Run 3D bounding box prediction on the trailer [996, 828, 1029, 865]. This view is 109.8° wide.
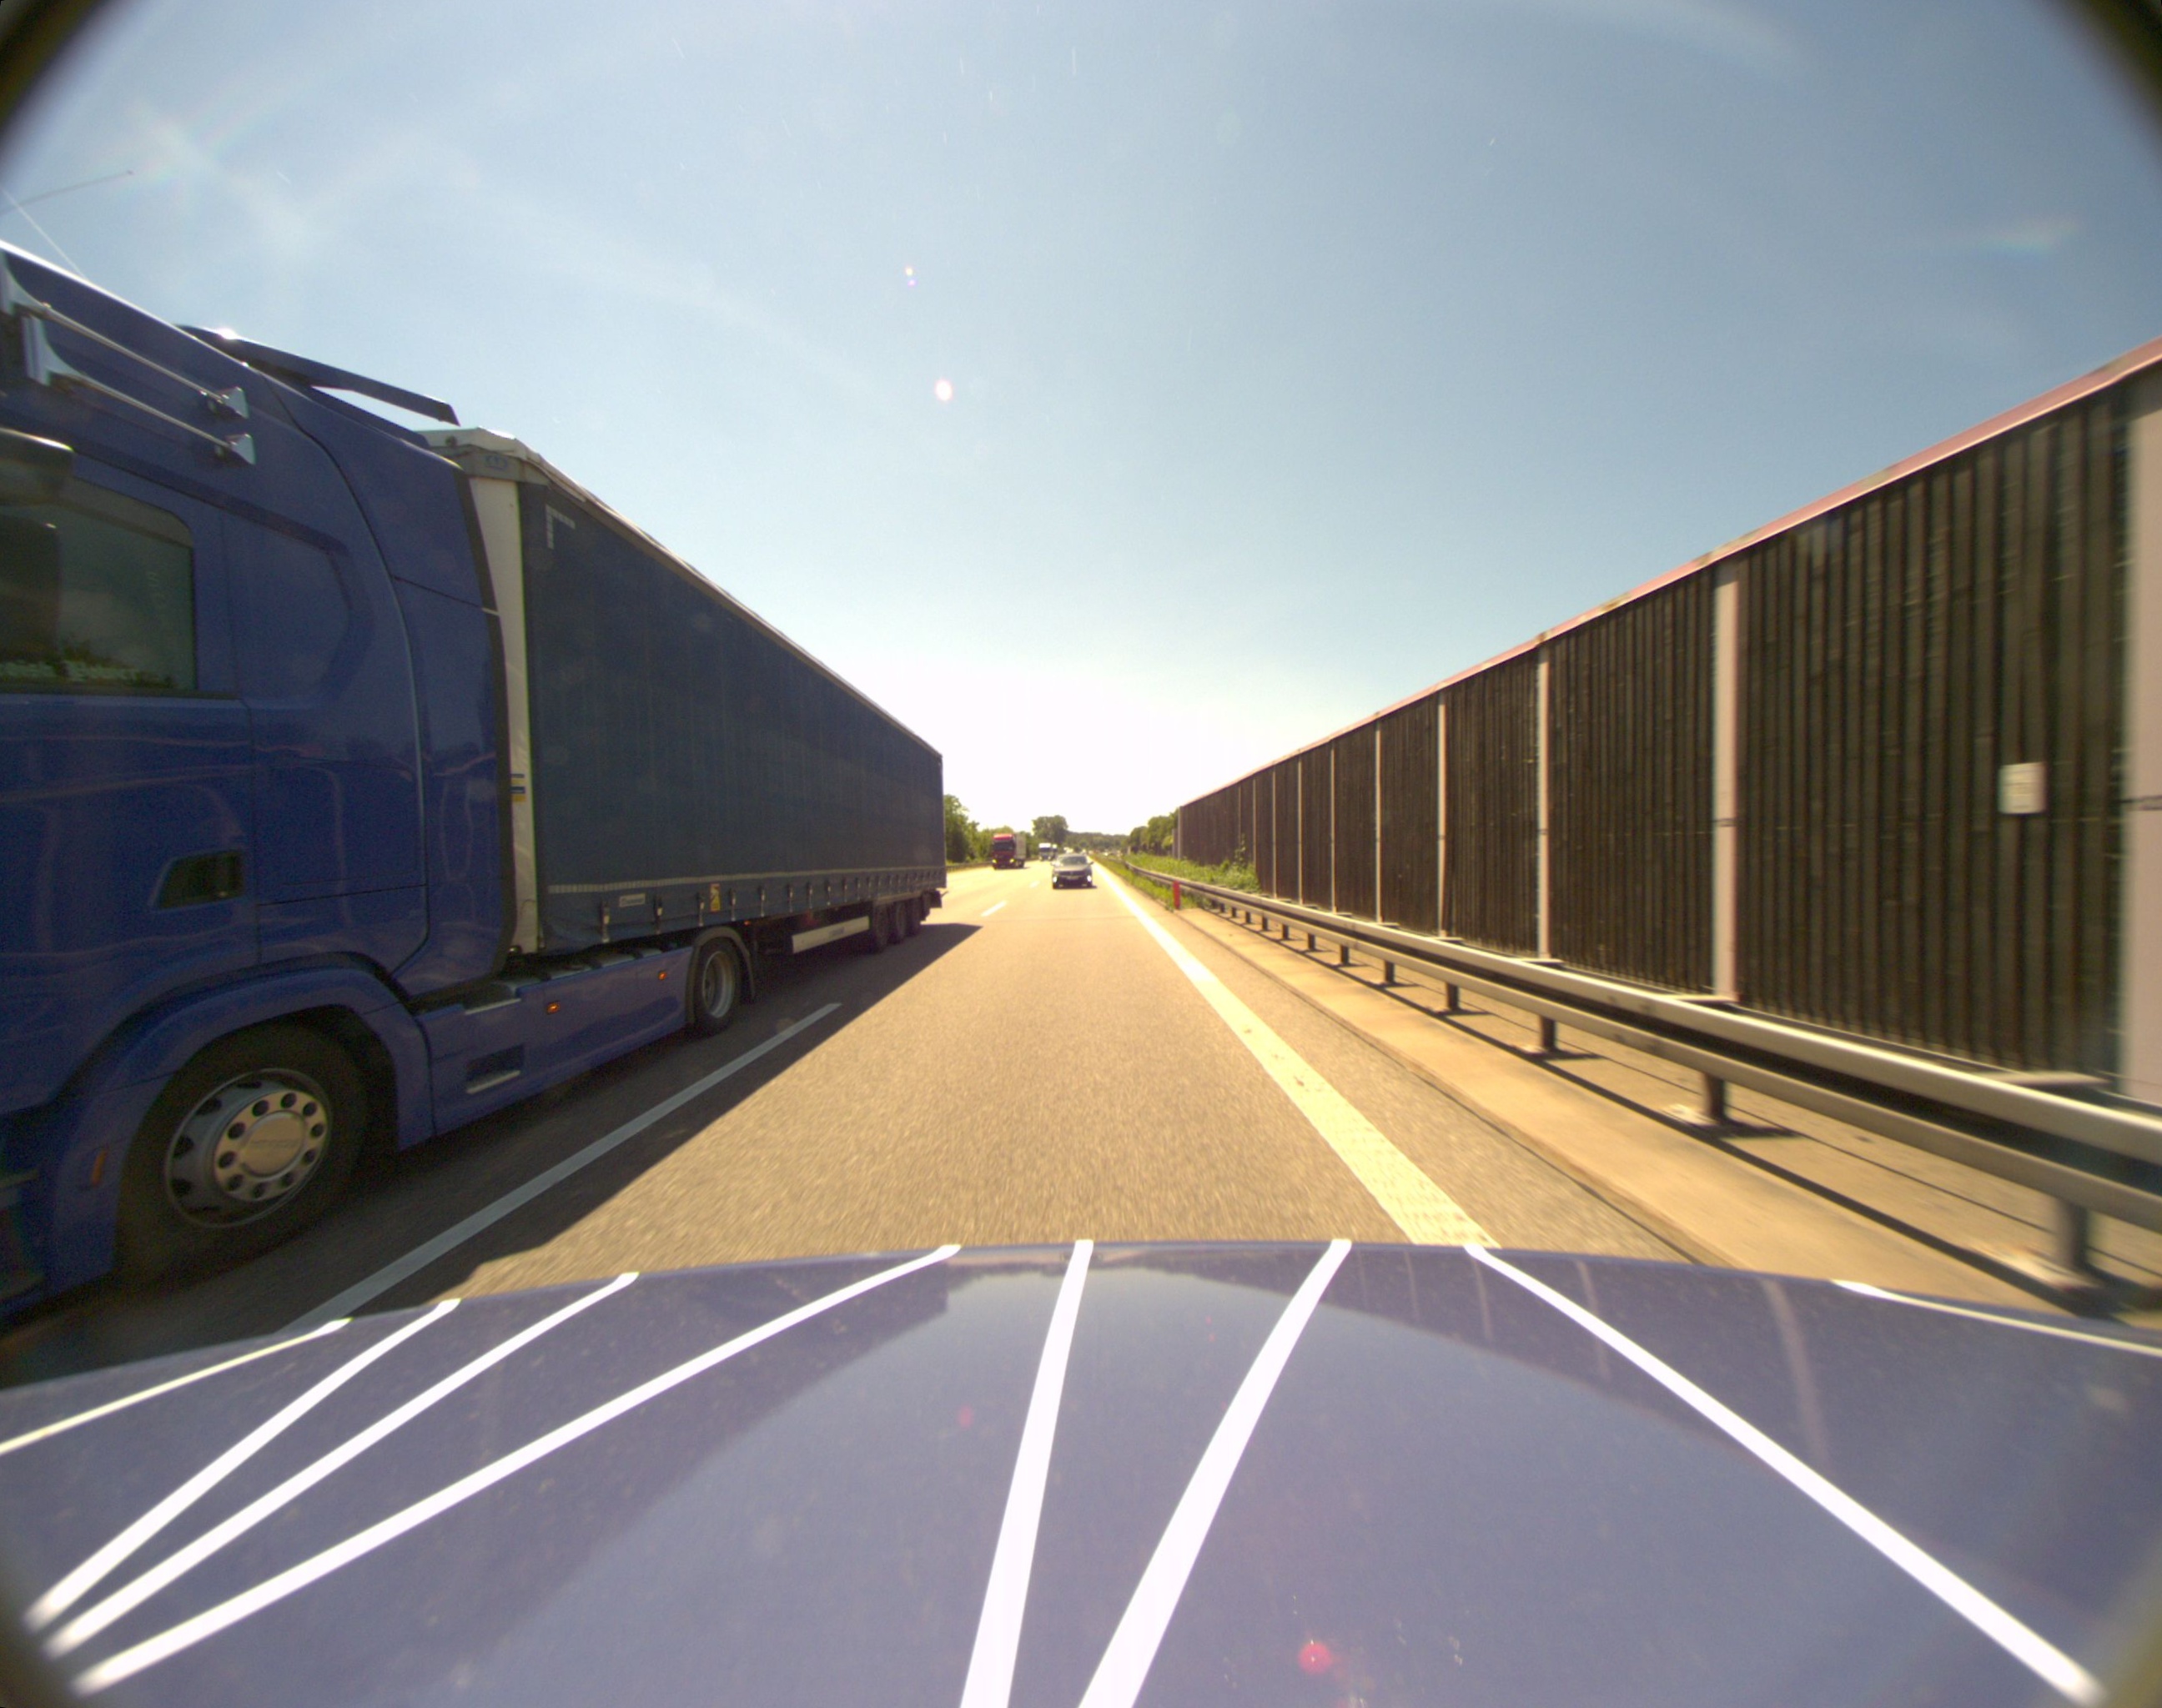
[{"bbox_3d":[-8.224,-0.902,92.684,2.803,4.094,12.298,-2,1,0],"label":"trailer"}]

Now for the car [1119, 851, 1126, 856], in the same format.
[{"bbox_3d":[13.892,-0.188,252.323,1.885,1.682,4.548,-1,0,-1],"label":"car"}]

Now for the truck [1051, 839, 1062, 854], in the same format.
[{"bbox_3d":[-6.564,-2.029,205.651,2.743,3.844,12.464,-2,1,-1],"label":"truck"}]

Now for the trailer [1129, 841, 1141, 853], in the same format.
[{"bbox_3d":[18.842,-2.392,265.299,3.125,3.985,13.874,2,0,0],"label":"trailer"}]

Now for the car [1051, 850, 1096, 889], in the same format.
[{"bbox_3d":[-0.372,0.672,35.277,1.885,1.630,5.008,-1,0,-1],"label":"car"}]

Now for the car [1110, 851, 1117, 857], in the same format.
[{"bbox_3d":[9.967,-0.049,233.924,1.787,1.830,4.558,0,0,0],"label":"car"}]

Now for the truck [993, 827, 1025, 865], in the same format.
[{"bbox_3d":[-8.175,-0.881,87.302,2.803,4.094,7.768,-2,1,0],"label":"truck"}]

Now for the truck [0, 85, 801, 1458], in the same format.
[{"bbox_3d":[-4.557,-0.265,4.952,2.707,4.094,6.990,-2,1,0],"label":"truck"}]

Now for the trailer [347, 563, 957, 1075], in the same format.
[{"bbox_3d":[-4.482,-0.318,12.263,2.707,4.094,12.130,-2,1,1],"label":"trailer"}]

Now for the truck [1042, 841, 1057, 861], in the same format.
[{"bbox_3d":[-7.252,-0.719,175.334,2.992,4.248,9.822,-2,1,-1],"label":"truck"}]
